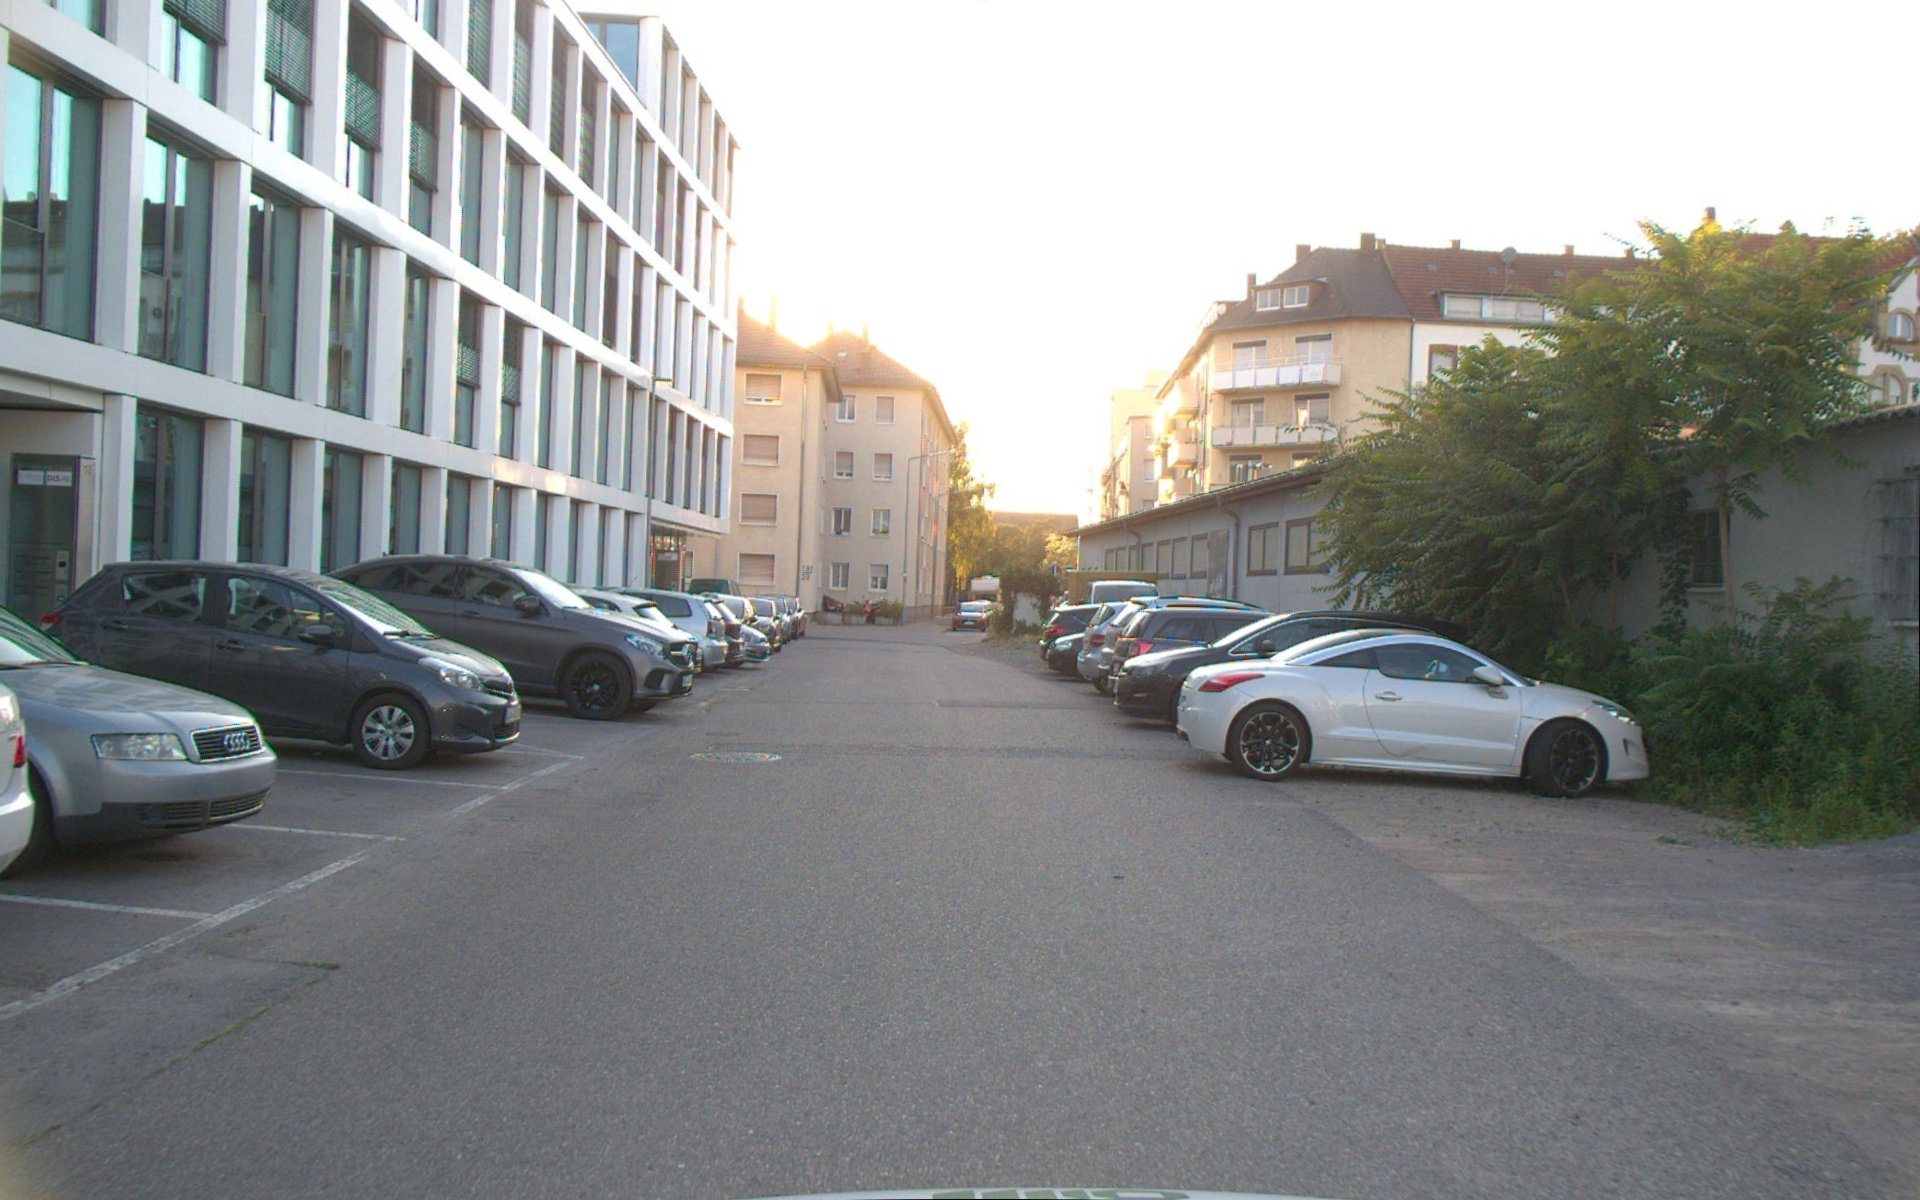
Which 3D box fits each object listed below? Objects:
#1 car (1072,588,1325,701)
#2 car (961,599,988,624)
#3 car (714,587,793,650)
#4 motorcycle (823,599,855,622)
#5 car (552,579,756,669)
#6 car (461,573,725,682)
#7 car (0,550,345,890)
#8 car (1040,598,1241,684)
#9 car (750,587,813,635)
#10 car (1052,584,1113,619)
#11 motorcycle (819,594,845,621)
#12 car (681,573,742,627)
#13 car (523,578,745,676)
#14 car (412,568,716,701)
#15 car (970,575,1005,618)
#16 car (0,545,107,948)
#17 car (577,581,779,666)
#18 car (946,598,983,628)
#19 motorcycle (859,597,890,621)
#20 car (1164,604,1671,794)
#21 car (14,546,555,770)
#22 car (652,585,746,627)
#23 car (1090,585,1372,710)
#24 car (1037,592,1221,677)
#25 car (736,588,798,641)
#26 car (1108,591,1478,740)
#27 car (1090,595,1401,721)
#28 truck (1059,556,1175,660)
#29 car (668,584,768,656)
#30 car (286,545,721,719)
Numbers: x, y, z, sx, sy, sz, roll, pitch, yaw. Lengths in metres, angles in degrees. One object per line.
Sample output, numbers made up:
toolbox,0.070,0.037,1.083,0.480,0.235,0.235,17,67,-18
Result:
car,3.972,0.729,28.041,3.904,1.637,1.938,3,0,-3
car,0.901,0.693,99.444,1.582,1.499,3.505,0,0,1
car,-5.534,0.477,44.677,1.615,1.463,4.183,5,0,-2
motorcycle,-5.975,0.521,81.925,0.708,1.098,2.080,2,0,22
car,-5.940,0.452,32.380,3.579,1.537,1.688,3,0,1
car,-6.030,0.436,27.499,3.882,1.537,1.796,3,0,2
car,-5.715,0.472,8.680,4.219,1.521,1.795,3,0,2
car,3.533,0.799,32.868,3.684,1.469,1.844,3,-1,-3
car,-6.420,0.385,59.870,1.744,1.504,4.330,5,0,-1
car,9.826,0.098,133.118,4.719,2.765,2.135,0,0,-1
motorcycle,-6.500,0.387,84.245,0.708,1.287,2.082,2,0,12
car,-9.720,-0.030,65.053,1.761,2.014,4.688,2,1,-2
car,-5.841,0.464,29.914,3.579,1.537,1.688,3,0,1
car,-5.316,0.438,22.477,3.590,1.537,1.697,3,0,4
car,2.228,-0.288,131.902,2.565,3.326,7.699,0,0,2
car,-5.429,0.466,6.076,3.632,1.521,1.708,3,0,0
car,-5.870,0.466,34.688,3.845,1.537,1.688,3,0,1
car,0.256,0.680,86.431,1.807,1.499,4.078,2,0,1
motorcycle,-4.366,0.466,84.403,0.675,1.180,2.032,2,0,26
car,4.028,0.849,15.120,4.115,1.391,1.824,3,0,2
car,-5.445,0.444,13.687,3.705,1.549,1.693,3,0,-1
car,-11.700,0.261,74.307,3.927,1.645,1.881,2,4,-3
car,4.101,0.706,25.439,3.906,1.647,1.825,3,0,-5
car,3.546,0.710,35.302,3.682,1.562,1.891,3,1,0
car,-6.285,0.455,54.194,1.677,1.504,4.181,5,0,-4
car,3.977,0.774,20.280,4.116,1.529,1.890,3,-1,0
car,3.846,0.781,22.755,3.903,1.470,1.827,3,-1,-1
truck,3.656,0.171,39.530,2.055,2.239,5.709,2,0,-1
car,-5.626,0.440,38.832,1.615,1.463,4.201,5,0,0
car,-5.350,0.350,19.788,4.522,1.735,2.005,3,0,4
